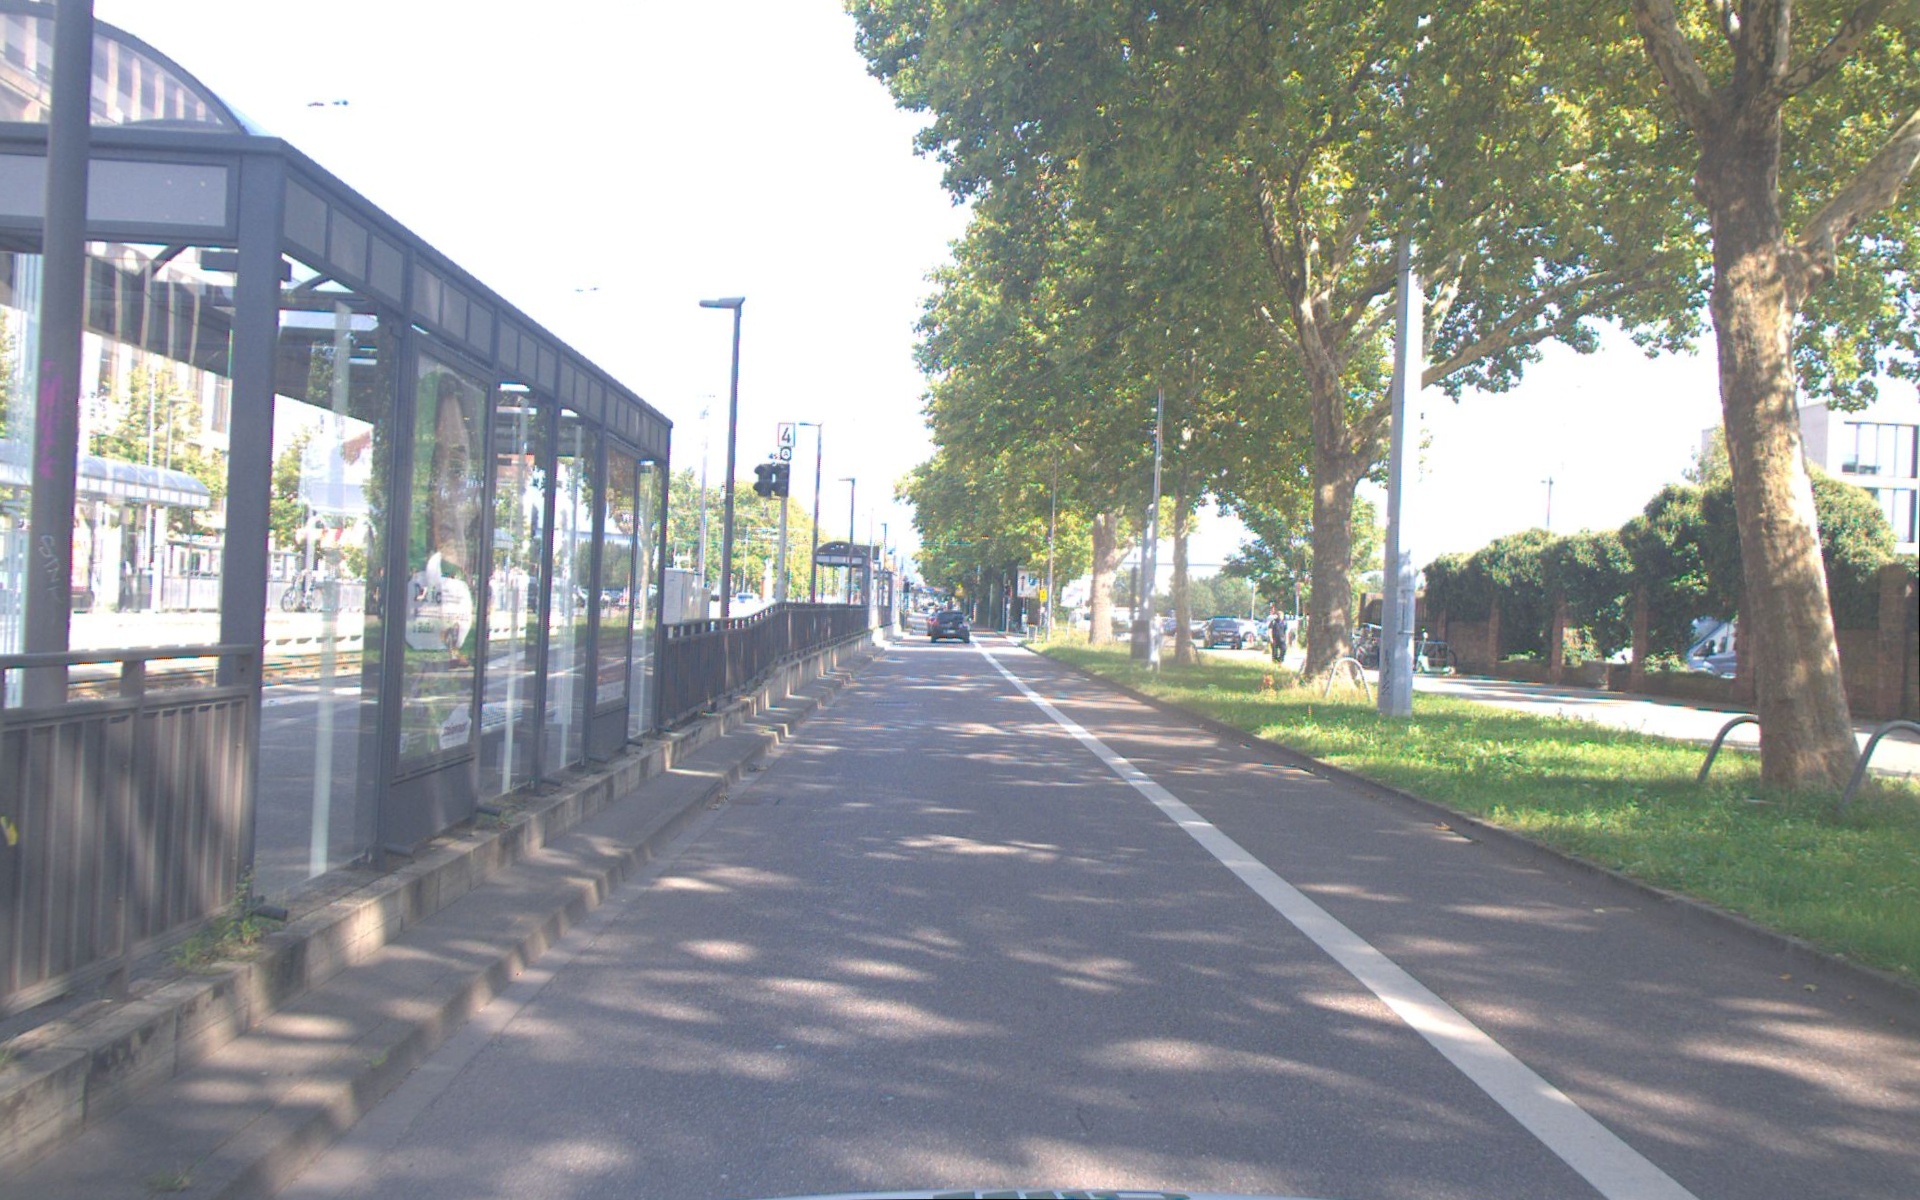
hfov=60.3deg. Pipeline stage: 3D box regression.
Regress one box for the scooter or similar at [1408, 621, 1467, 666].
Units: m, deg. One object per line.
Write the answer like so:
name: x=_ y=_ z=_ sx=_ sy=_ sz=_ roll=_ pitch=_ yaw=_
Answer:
scooter or similar: x=13.175 y=1.204 z=45.674 sx=1.474 sy=1.212 sz=0.539 roll=1 pitch=-1 yaw=3

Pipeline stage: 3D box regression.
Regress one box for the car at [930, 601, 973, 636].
car: x=-0.408 y=0.825 z=75.065 sx=1.869 sy=1.564 sz=3.998 roll=1 pitch=0 yaw=-2

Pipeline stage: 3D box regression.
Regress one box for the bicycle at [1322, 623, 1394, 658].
bicycle: x=12.555 y=1.280 z=52.206 sx=2.128 sy=1.095 sz=0.743 roll=0 pitch=-1 yaw=2

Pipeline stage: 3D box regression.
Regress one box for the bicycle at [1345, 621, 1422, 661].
bicycle: x=12.787 y=1.233 z=49.971 sx=2.130 sy=1.095 sz=0.743 roll=2 pitch=-1 yaw=-3

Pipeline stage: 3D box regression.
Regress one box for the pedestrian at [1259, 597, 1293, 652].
pedestrian: x=9.071 y=0.700 z=47.558 sx=0.768 sy=1.541 sz=0.786 roll=2 pitch=0 yaw=-1

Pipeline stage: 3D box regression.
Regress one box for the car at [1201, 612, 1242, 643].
car: x=14.240 y=1.463 z=90.350 sx=1.575 sy=1.603 sz=3.795 roll=1 pitch=0 yaw=-1

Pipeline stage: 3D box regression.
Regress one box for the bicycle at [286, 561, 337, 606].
bicycle: x=-17.348 y=-0.431 z=44.293 sx=0.461 sy=1.167 sz=1.485 roll=2 pitch=-1 yaw=13

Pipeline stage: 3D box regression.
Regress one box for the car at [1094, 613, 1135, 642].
car: x=8.281 y=1.476 z=89.016 sx=1.693 sy=1.474 sz=4.550 roll=1 pitch=0 yaw=-1

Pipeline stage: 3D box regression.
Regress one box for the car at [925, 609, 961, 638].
car: x=-0.969 y=1.313 z=94.209 sx=1.933 sy=1.564 sz=3.998 roll=-1 pitch=0 yaw=-2

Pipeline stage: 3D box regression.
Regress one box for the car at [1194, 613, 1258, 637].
car: x=19.465 y=1.839 z=121.186 sx=4.257 sy=1.489 sz=1.946 roll=3 pitch=-1 yaw=-3

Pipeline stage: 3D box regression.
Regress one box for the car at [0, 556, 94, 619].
car: x=-25.623 y=-0.344 z=45.331 sx=1.728 sy=1.631 sz=4.130 roll=1 pitch=0 yaw=-3

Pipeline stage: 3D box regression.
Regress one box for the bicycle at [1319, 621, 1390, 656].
bicycle: x=12.630 y=1.228 z=52.994 sx=2.128 sy=1.095 sz=0.743 roll=0 pitch=-1 yaw=2

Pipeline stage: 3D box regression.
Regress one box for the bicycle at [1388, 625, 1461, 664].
bicycle: x=13.077 y=1.258 z=46.601 sx=1.830 sy=1.024 sz=0.734 roll=2 pitch=-1 yaw=-3

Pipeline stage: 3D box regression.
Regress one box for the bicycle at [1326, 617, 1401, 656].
bicycle: x=13.282 y=1.203 z=54.508 sx=2.199 sy=1.299 sz=0.998 roll=0 pitch=-1 yaw=-2

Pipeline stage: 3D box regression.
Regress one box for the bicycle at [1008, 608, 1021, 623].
bicycle: x=3.875 y=1.114 z=117.768 sx=0.598 sy=1.039 sz=2.400 roll=2 pitch=0 yaw=-5

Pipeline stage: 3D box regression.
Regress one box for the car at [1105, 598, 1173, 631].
car: x=11.065 y=0.911 z=102.414 sx=4.018 sy=1.952 sz=1.848 roll=1 pitch=0 yaw=2
